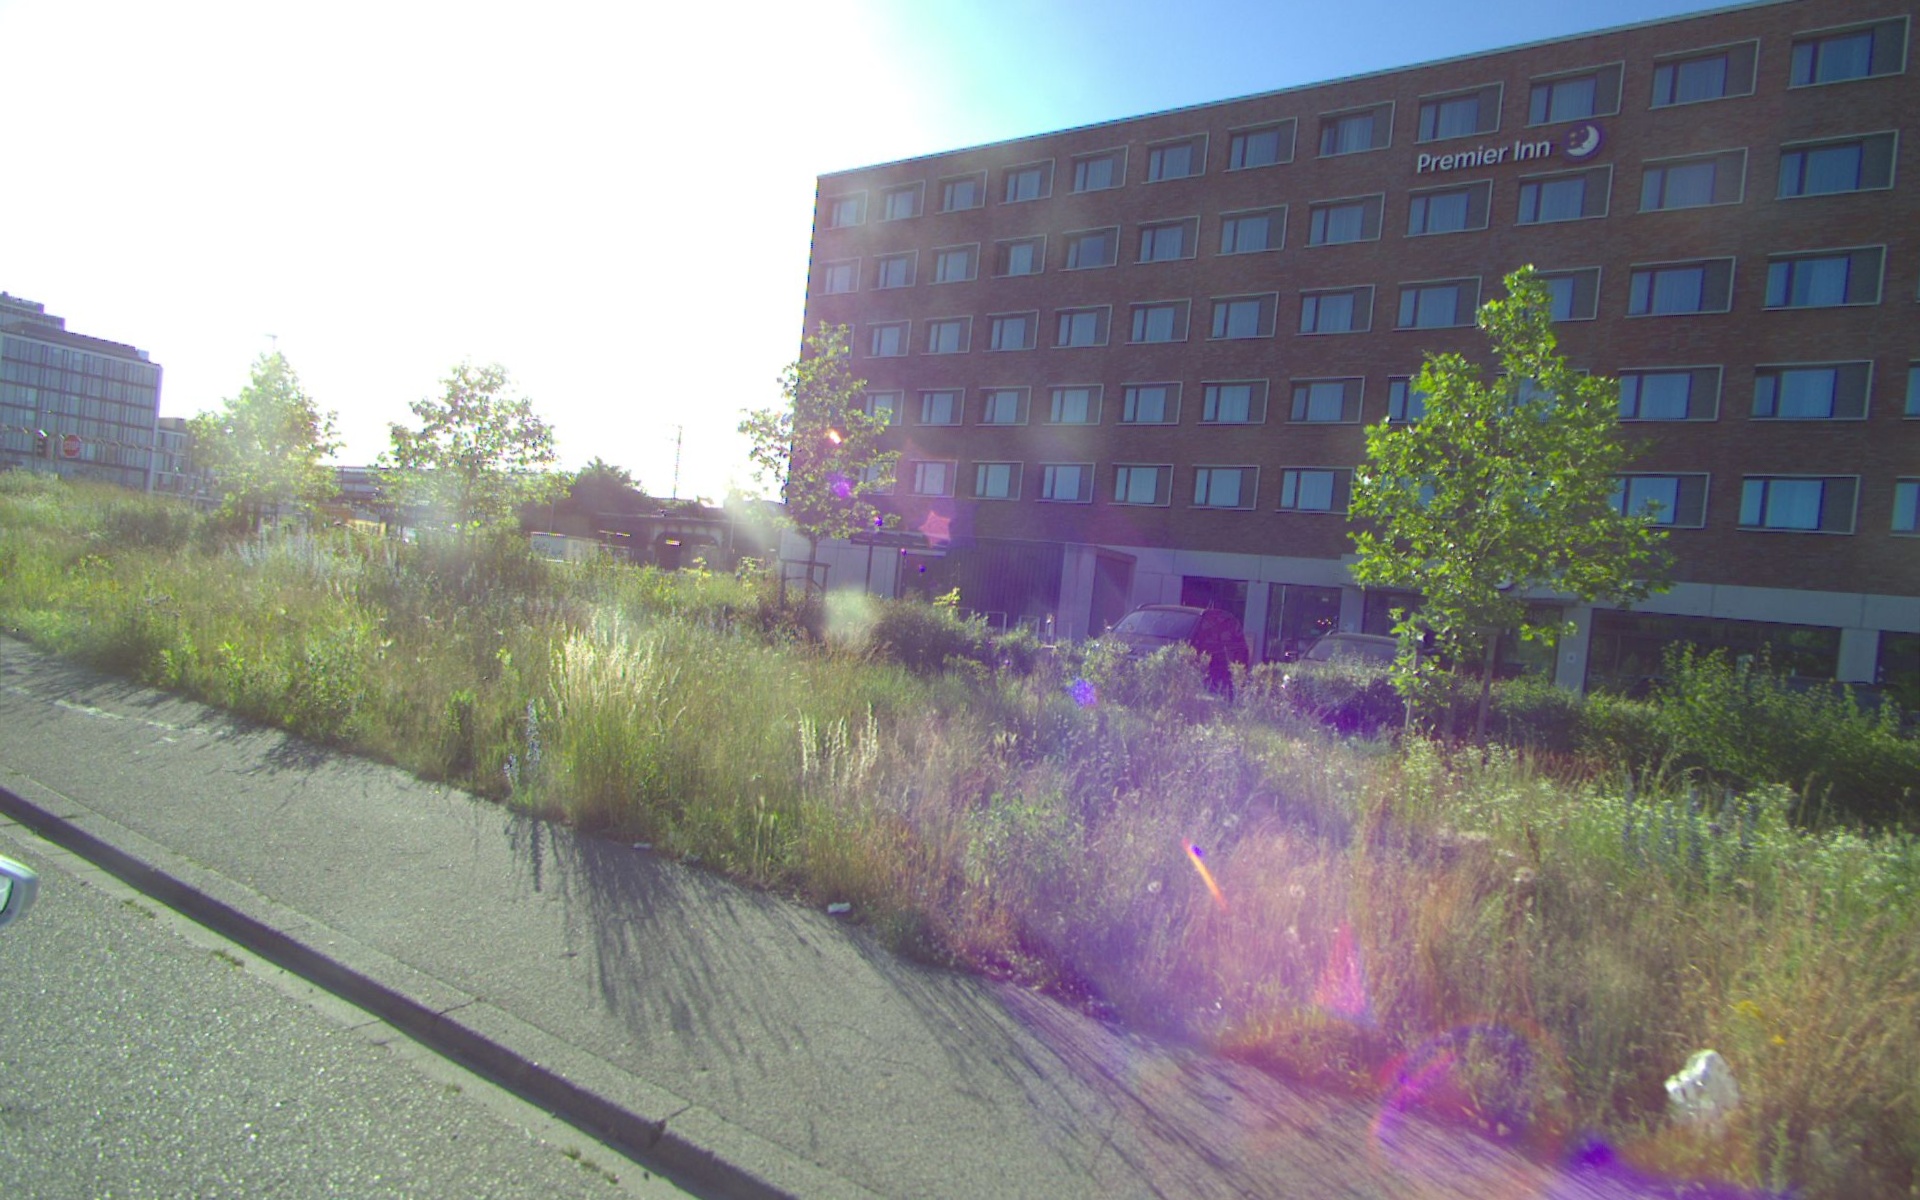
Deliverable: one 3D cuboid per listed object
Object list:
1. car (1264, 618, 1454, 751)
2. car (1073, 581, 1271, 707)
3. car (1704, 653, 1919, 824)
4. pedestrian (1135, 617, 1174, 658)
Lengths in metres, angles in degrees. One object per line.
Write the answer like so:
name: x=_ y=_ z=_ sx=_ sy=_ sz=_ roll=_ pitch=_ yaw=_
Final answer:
car: x=6.357 y=1.302 z=15.730 sx=1.822 sy=1.600 sz=4.188 roll=7 pitch=0 yaw=33
car: x=3.739 y=0.809 z=17.223 sx=1.822 sy=1.726 sz=3.990 roll=7 pitch=0 yaw=33
car: x=10.730 y=1.647 z=12.628 sx=1.822 sy=1.600 sz=4.188 roll=7 pitch=0 yaw=33
pedestrian: x=7.049 y=1.370 z=36.429 sx=0.993 sy=1.326 sz=0.930 roll=7 pitch=0 yaw=31
